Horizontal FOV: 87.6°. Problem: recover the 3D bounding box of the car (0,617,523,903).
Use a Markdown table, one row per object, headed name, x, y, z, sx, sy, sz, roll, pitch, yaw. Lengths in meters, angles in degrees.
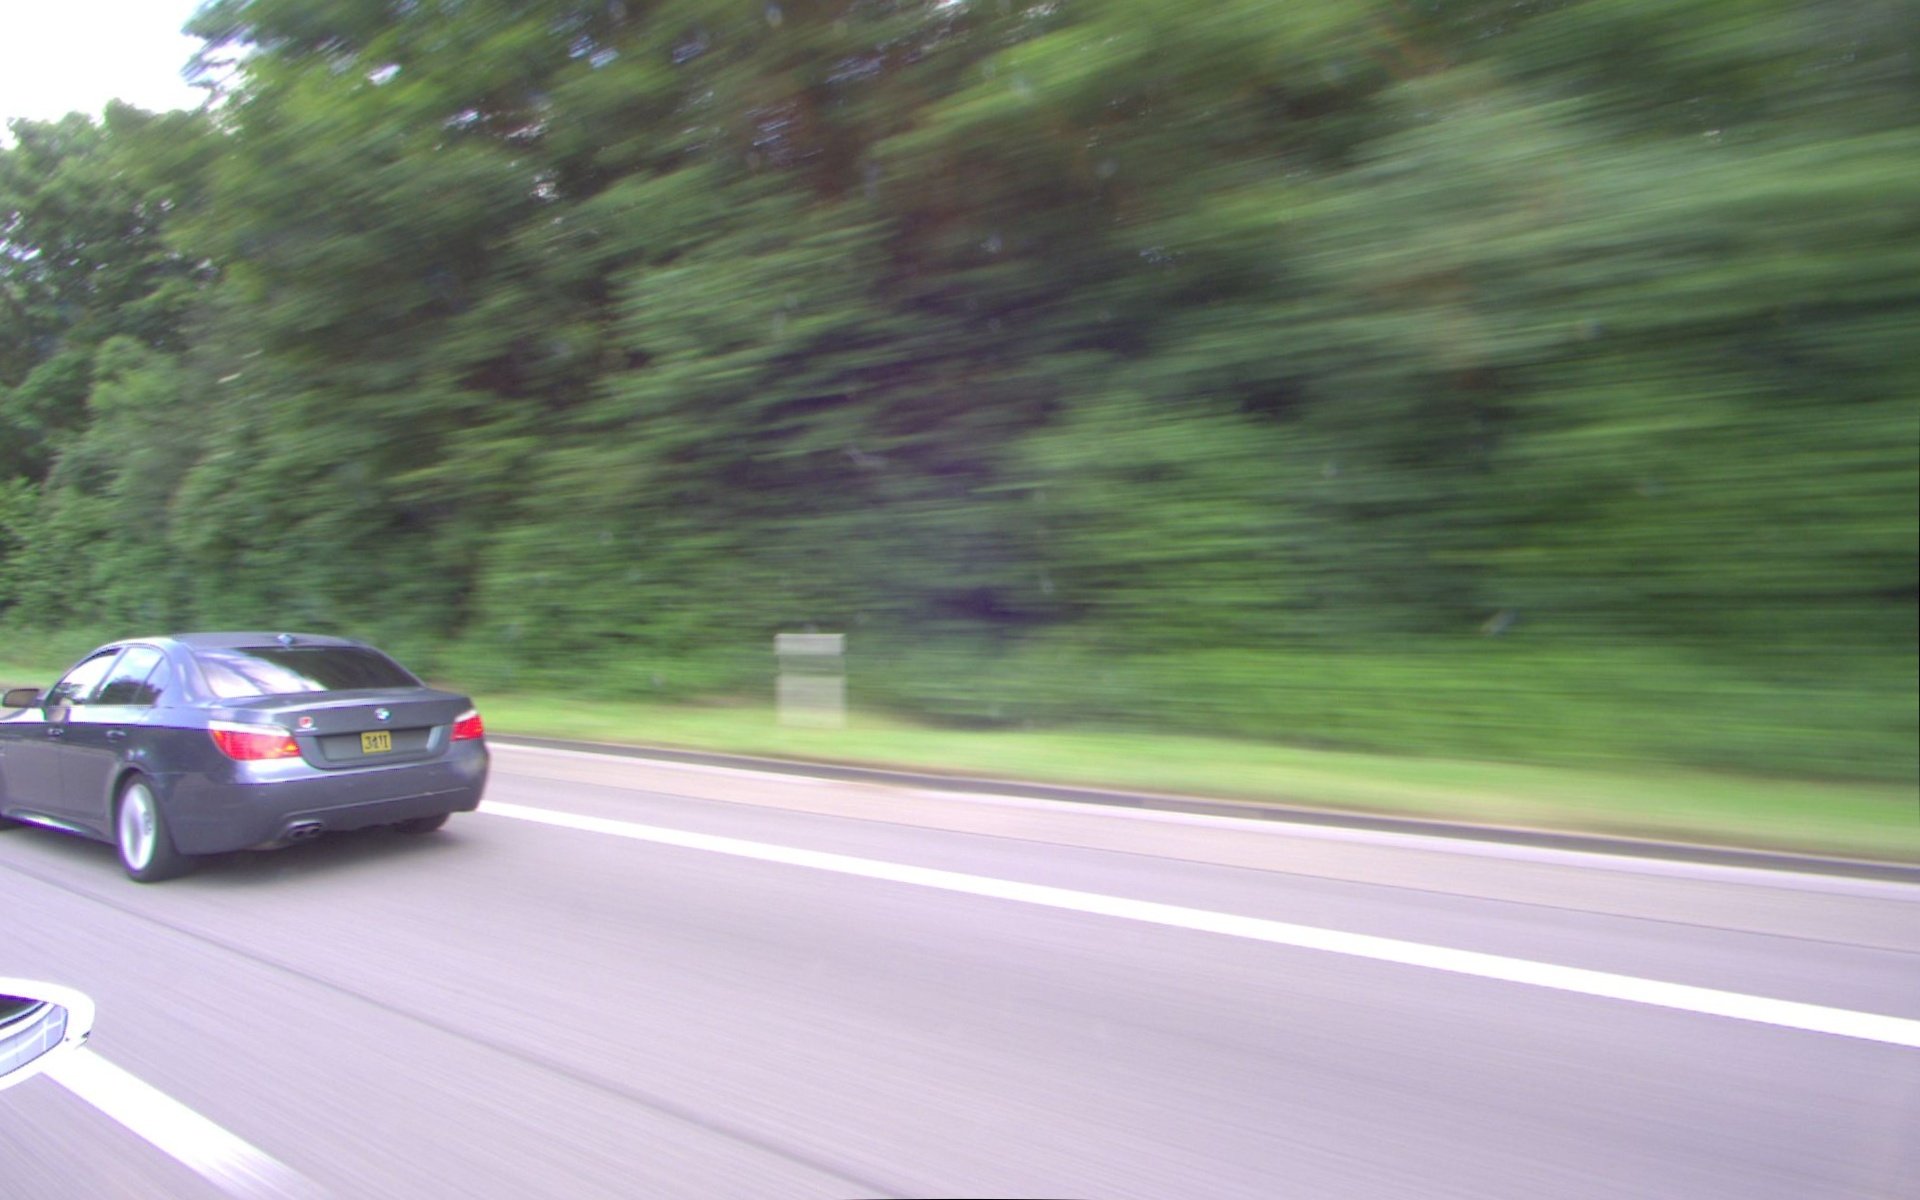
| name | x | y | z | sx | sy | sz | roll | pitch | yaw |
| --- | --- | --- | --- | --- | --- | --- | --- | --- | --- |
| car | -5.445 | 0.882 | 7.269 | 4.810 | 1.494 | 1.771 | -1 | -1 | 32 |
